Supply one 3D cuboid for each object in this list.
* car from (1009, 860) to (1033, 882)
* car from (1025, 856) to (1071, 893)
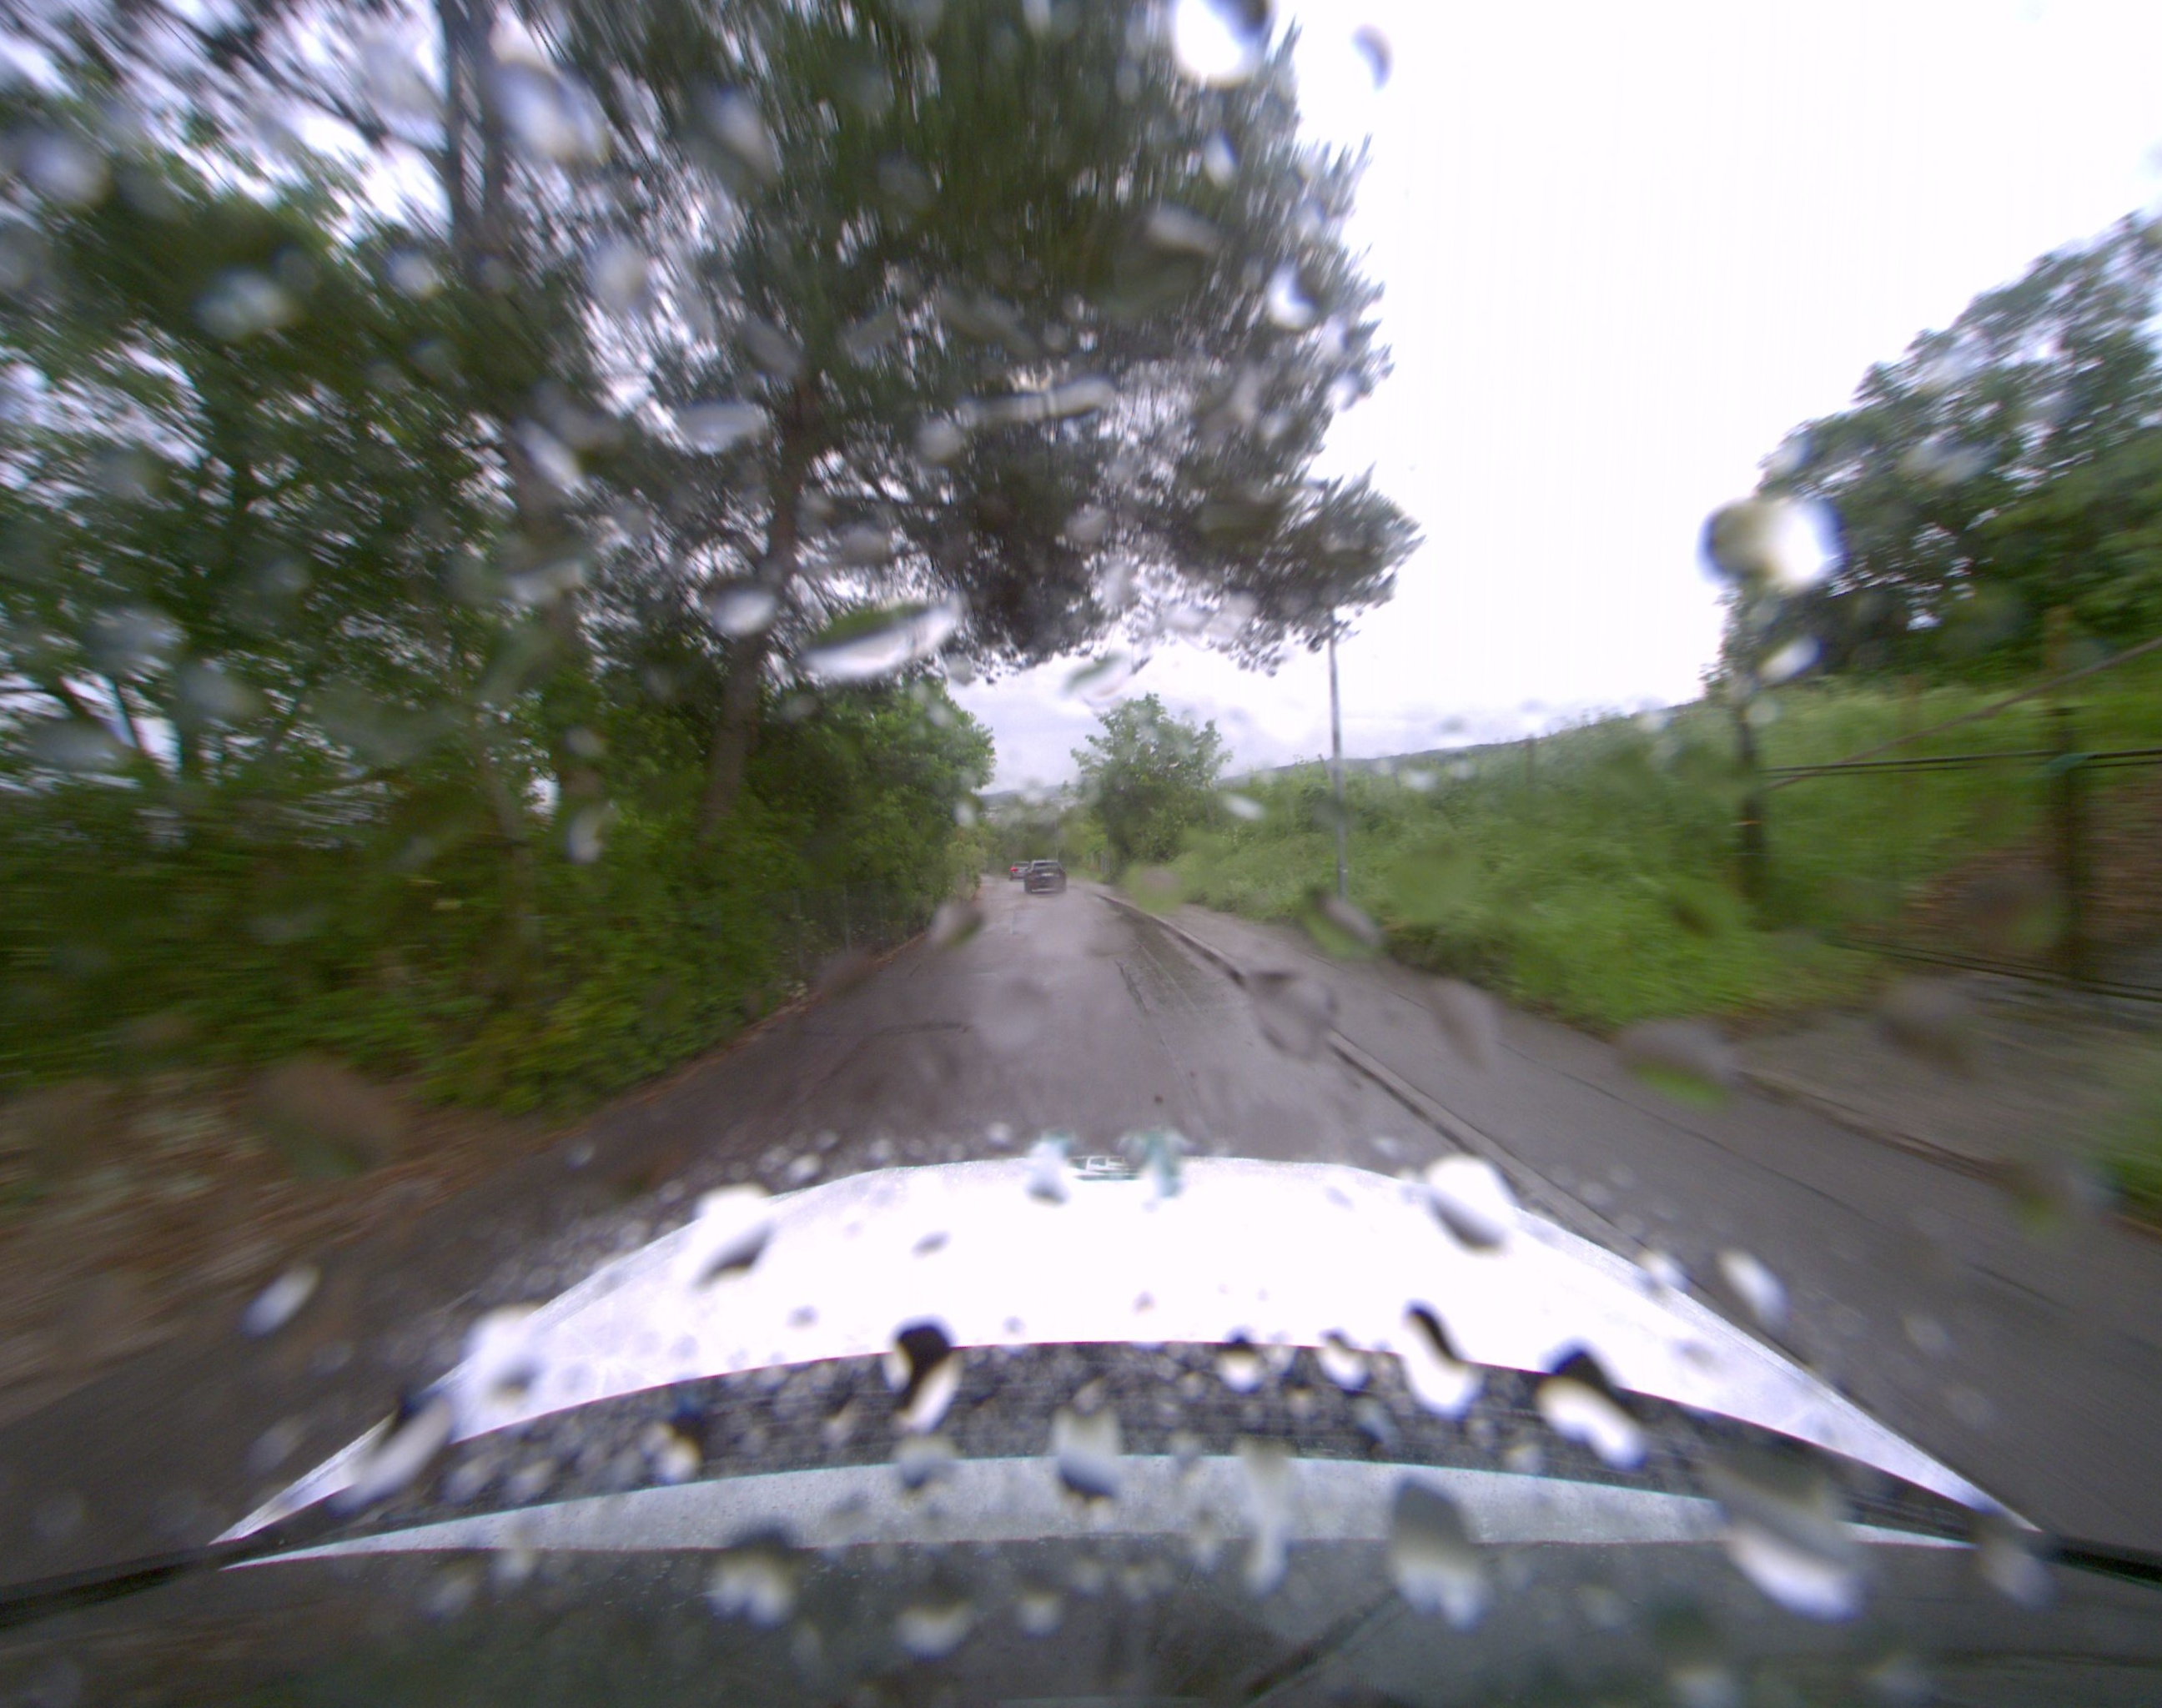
[{"bbox_3d":[-4.777,1.295,64.217,1.676,1.565,3.785,-2,0,-7],"label":"car"},{"bbox_3d":[-1.540,0.897,36.735,1.832,1.464,3.993,-3,0,-5],"label":"car"}]
